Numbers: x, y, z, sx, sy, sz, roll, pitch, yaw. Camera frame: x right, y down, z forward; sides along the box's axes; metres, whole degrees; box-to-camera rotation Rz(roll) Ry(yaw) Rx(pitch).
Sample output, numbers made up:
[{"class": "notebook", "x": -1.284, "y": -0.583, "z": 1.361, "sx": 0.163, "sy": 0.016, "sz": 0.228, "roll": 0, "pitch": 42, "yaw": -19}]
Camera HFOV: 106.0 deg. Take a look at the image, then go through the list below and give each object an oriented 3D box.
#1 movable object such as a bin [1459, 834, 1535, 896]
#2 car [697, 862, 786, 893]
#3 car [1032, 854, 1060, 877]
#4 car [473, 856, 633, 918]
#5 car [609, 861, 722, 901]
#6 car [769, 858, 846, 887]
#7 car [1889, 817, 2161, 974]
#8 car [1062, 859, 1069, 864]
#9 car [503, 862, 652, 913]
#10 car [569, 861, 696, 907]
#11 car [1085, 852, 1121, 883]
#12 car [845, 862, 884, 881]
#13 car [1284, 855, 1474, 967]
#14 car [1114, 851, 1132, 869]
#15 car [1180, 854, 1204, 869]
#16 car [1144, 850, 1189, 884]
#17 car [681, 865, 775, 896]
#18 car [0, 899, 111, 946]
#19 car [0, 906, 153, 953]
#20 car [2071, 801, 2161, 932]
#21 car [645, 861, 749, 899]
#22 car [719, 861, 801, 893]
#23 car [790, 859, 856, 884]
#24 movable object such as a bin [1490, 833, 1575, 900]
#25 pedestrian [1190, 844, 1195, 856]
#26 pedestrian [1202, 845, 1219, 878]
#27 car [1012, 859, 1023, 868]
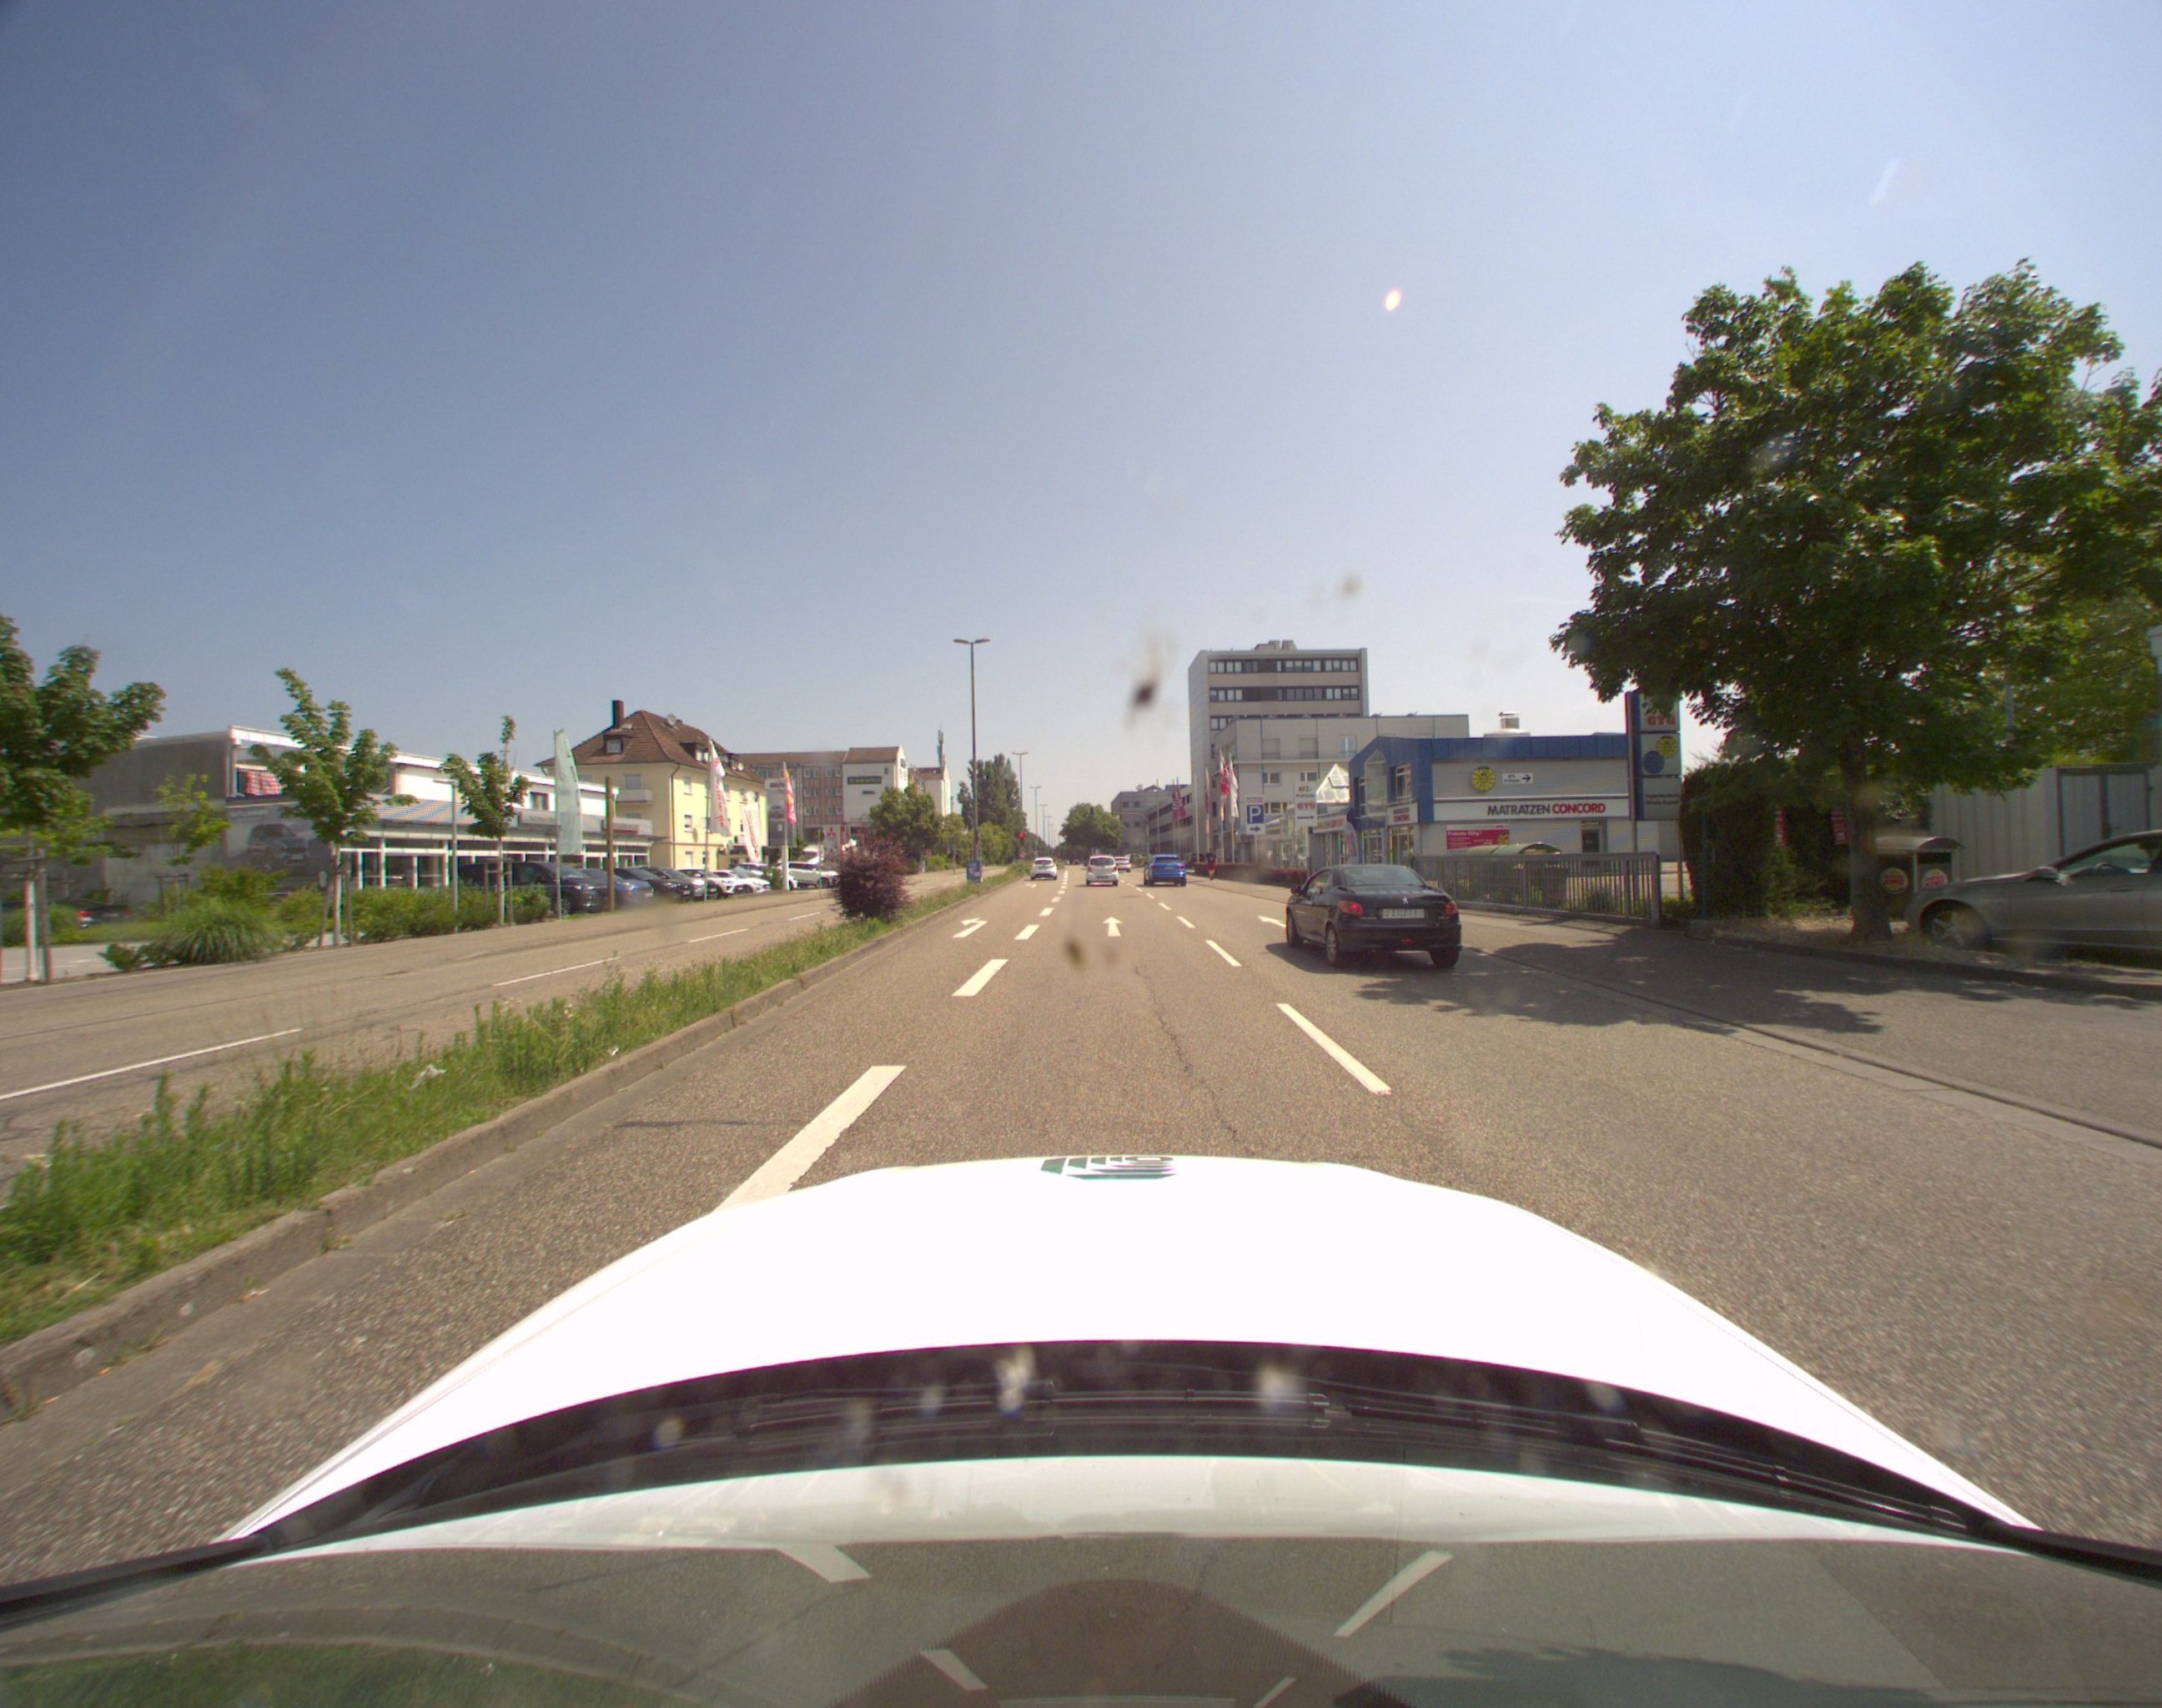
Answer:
[{"class": "movable object such as a bin", "x": 10.581, "y": 0.274, "z": 20.798, "sx": 1.127, "sy": 1.470, "sz": 1.489, "roll": -2, "pitch": 0, "yaw": -1}, {"class": "car", "x": -18.224, "y": 1.225, "z": 43.858, "sx": 3.978, "sy": 1.467, "sz": 1.758, "roll": -2, "pitch": 0, "yaw": -3}, {"class": "car", "x": -2.273, "y": 0.729, "z": 53.660, "sx": 1.683, "sy": 1.434, "sz": 3.710, "roll": -2, "pitch": 0, "yaw": -1}, {"class": "car", "x": -17.684, "y": 1.064, "z": 27.426, "sx": 3.977, "sy": 1.882, "sz": 1.998, "roll": -2, "pitch": 0, "yaw": -3}, {"class": "car", "x": -18.157, "y": 1.150, "z": 35.737, "sx": 3.978, "sy": 1.568, "sz": 1.758, "roll": -2, "pitch": 0, "yaw": -3}, {"class": "car", "x": -18.453, "y": 1.237, "z": 55.118, "sx": 4.535, "sy": 1.709, "sz": 1.758, "roll": -2, "pitch": 0, "yaw": -3}, {"class": "car", "x": 11.377, "y": 0.372, "z": 8.159, "sx": 1.789, "sy": 1.466, "sz": 4.633, "roll": -4, "pitch": 0, "yaw": -2}, {"class": "car", "x": -4.925, "y": 2.317, "z": 258.383, "sx": 1.815, "sy": 1.662, "sz": 3.997, "roll": -2, "pitch": 0, "yaw": -2}, {"class": "car", "x": -18.088, "y": 1.181, "z": 29.426, "sx": 3.977, "sy": 1.608, "sz": 2.087, "roll": -2, "pitch": 0, "yaw": -3}, {"class": "car", "x": -17.817, "y": 1.176, "z": 32.483, "sx": 3.978, "sy": 1.608, "sz": 1.758, "roll": -2, "pitch": 0, "yaw": -3}, {"class": "car", "x": 1.112, "y": 0.657, "z": 42.263, "sx": 1.742, "sy": 1.520, "sz": 3.745, "roll": -1, "pitch": 0, "yaw": 0}, {"class": "car", "x": -17.900, "y": 1.388, "z": 67.549, "sx": 1.769, "sy": 1.410, "sz": 4.761, "roll": -2, "pitch": 0, "yaw": 2}, {"class": "car", "x": 4.180, "y": 0.723, "z": 11.997, "sx": 1.620, "sy": 1.364, "sz": 3.608, "roll": -1, "pitch": 0, "yaw": 3}, {"class": "car", "x": 3.801, "y": 0.526, "z": 74.465, "sx": 1.553, "sy": 1.520, "sz": 3.607, "roll": -2, "pitch": 0, "yaw": 2}, {"class": "car", "x": 11.173, "y": 0.725, "z": 82.087, "sx": 1.838, "sy": 1.531, "sz": 4.195, "roll": 0, "pitch": 0, "yaw": -1}, {"class": "car", "x": 4.227, "y": 0.605, "z": 40.741, "sx": 1.822, "sy": 1.580, "sz": 3.605, "roll": -2, "pitch": 0, "yaw": 0}, {"class": "car", "x": -18.005, "y": 1.331, "z": 41.665, "sx": 3.978, "sy": 1.394, "sz": 1.858, "roll": -2, "pitch": 0, "yaw": -3}, {"class": "car", "x": -31.142, "y": 2.020, "z": 23.983, "sx": 3.507, "sy": 1.224, "sz": 1.731, "roll": -2, "pitch": 0, "yaw": 9}, {"class": "car", "x": -32.601, "y": 2.415, "z": 26.134, "sx": 3.700, "sy": 1.245, "sz": 1.650, "roll": -2, "pitch": 0, "yaw": 0}, {"class": "car", "x": 13.887, "y": 0.101, "z": 8.461, "sx": 1.896, "sy": 1.536, "sz": 4.248, "roll": -4, "pitch": 0, "yaw": -2}, {"class": "car", "x": -18.239, "y": 1.235, "z": 38.811, "sx": 3.978, "sy": 1.608, "sz": 1.923, "roll": -2, "pitch": 0, "yaw": -3}, {"class": "car", "x": -18.404, "y": 1.288, "z": 46.713, "sx": 4.018, "sy": 1.624, "sz": 1.740, "roll": -2, "pitch": 0, "yaw": -36}, {"class": "car", "x": -18.768, "y": 1.286, "z": 59.393, "sx": 1.816, "sy": 1.642, "sz": 4.205, "roll": -2, "pitch": 0, "yaw": 37}, {"class": "movable object such as a bin", "x": 10.573, "y": 0.274, "z": 19.125, "sx": 1.127, "sy": 1.470, "sz": 1.489, "roll": -2, "pitch": 0, "yaw": -1}, {"class": "pedestrian", "x": 14.872, "y": -0.514, "z": 109.040, "sx": 0.590, "sy": 1.634, "sz": 0.524, "roll": -2, "pitch": 0, "yaw": 7}, {"class": "pedestrian", "x": 7.393, "y": 0.425, "z": 46.401, "sx": 0.782, "sy": 1.846, "sz": 0.936, "roll": -2, "pitch": 0, "yaw": 1}, {"class": "car", "x": -12.066, "y": 1.774, "z": 155.445, "sx": 1.990, "sy": 1.486, "sz": 4.495, "roll": -2, "pitch": 0, "yaw": -4}]
